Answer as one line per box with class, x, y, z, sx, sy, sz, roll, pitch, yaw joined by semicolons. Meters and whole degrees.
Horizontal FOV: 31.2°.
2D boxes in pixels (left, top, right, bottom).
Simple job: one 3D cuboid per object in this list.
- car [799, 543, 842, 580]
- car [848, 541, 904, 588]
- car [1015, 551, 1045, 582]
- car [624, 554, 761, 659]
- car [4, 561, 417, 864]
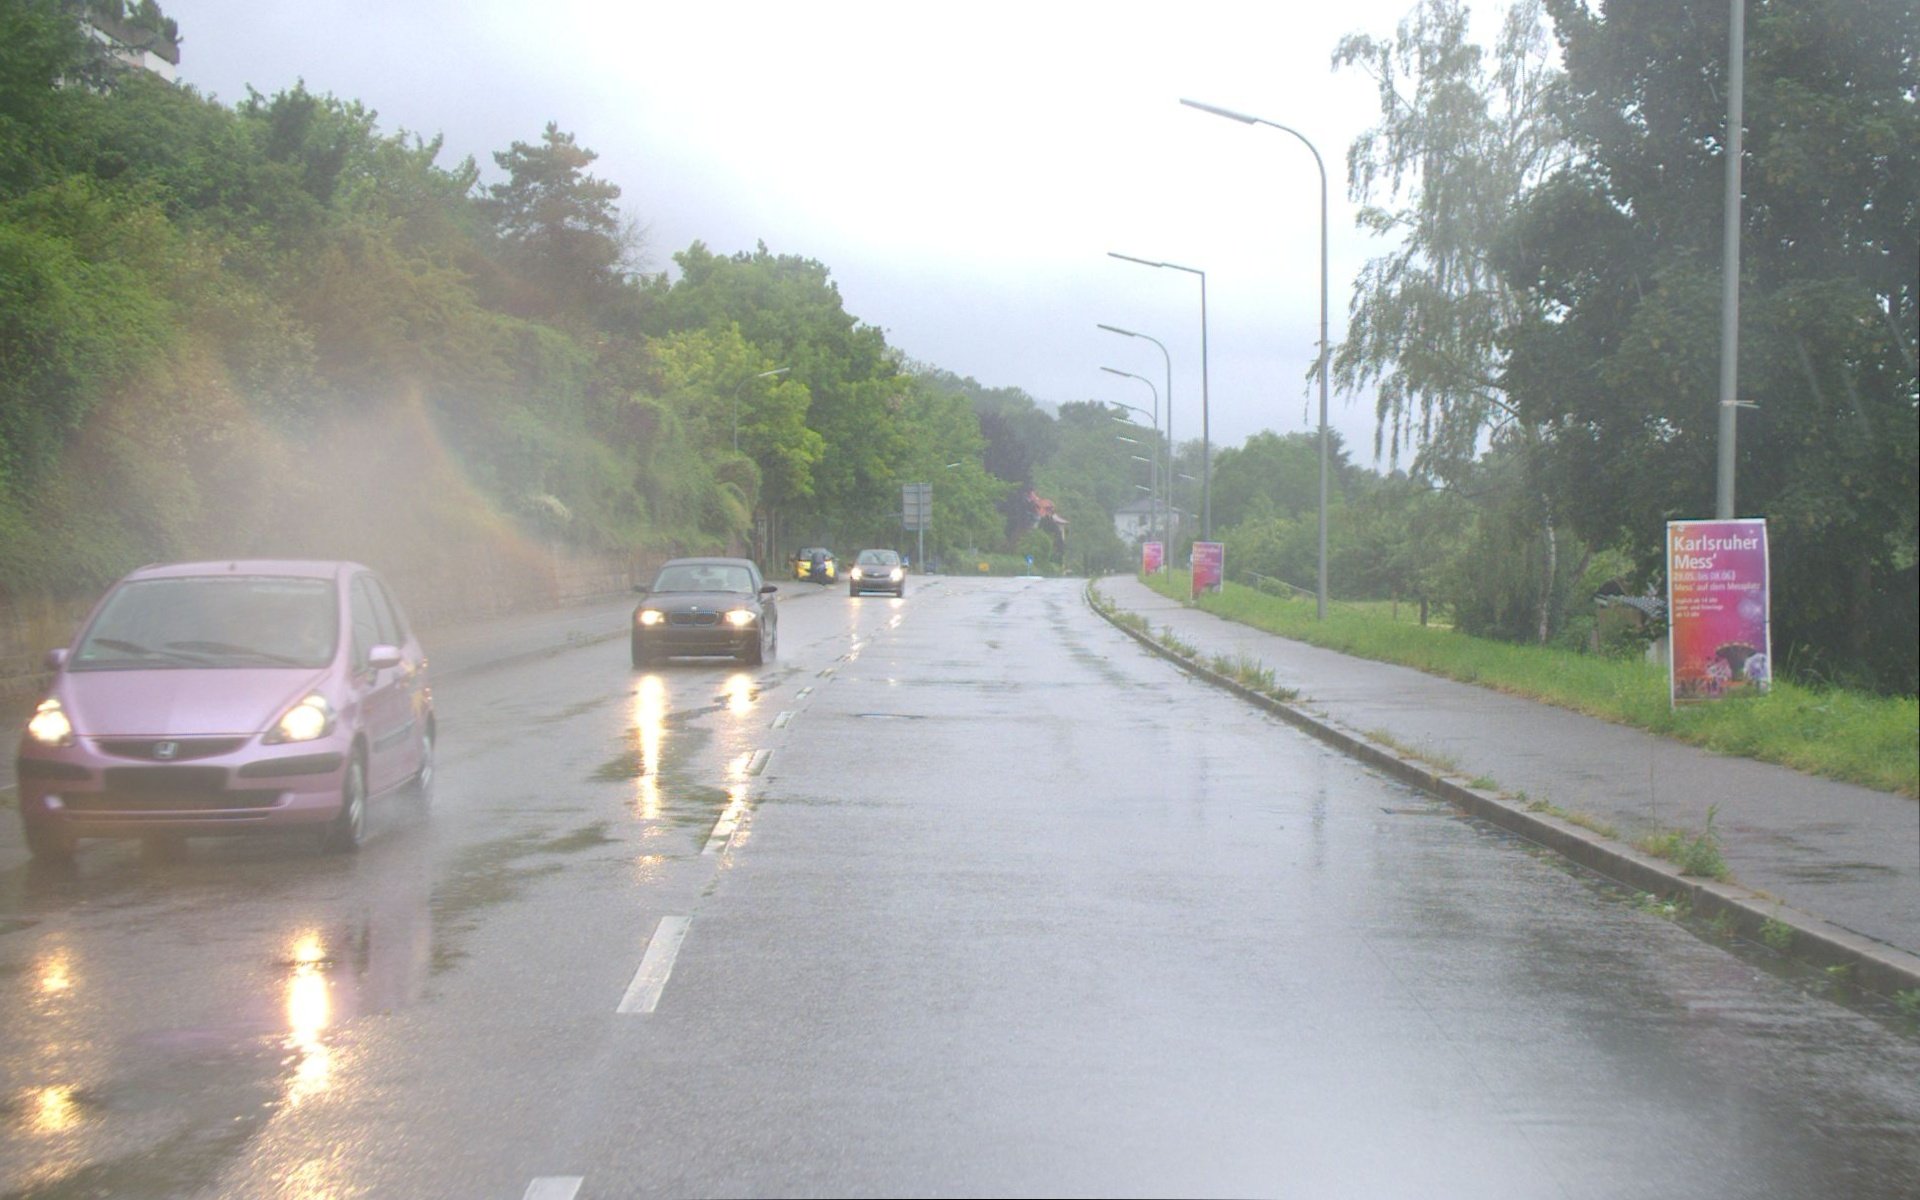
car;-5.742;-1.572;141.795;1.727;1.491;3.988;0;0;-2
car;-2.689;-1.142;110.797;1.759;1.491;4.127;0;0;-1
car;4.710;-2.262;231.935;1.993;2.007;4.000;1;0;1
car;-3.540;0.063;46.004;1.654;1.347;3.988;0;0;-2
car;-3.905;0.525;18.428;1.662;1.456;3.663;0;0;-4
